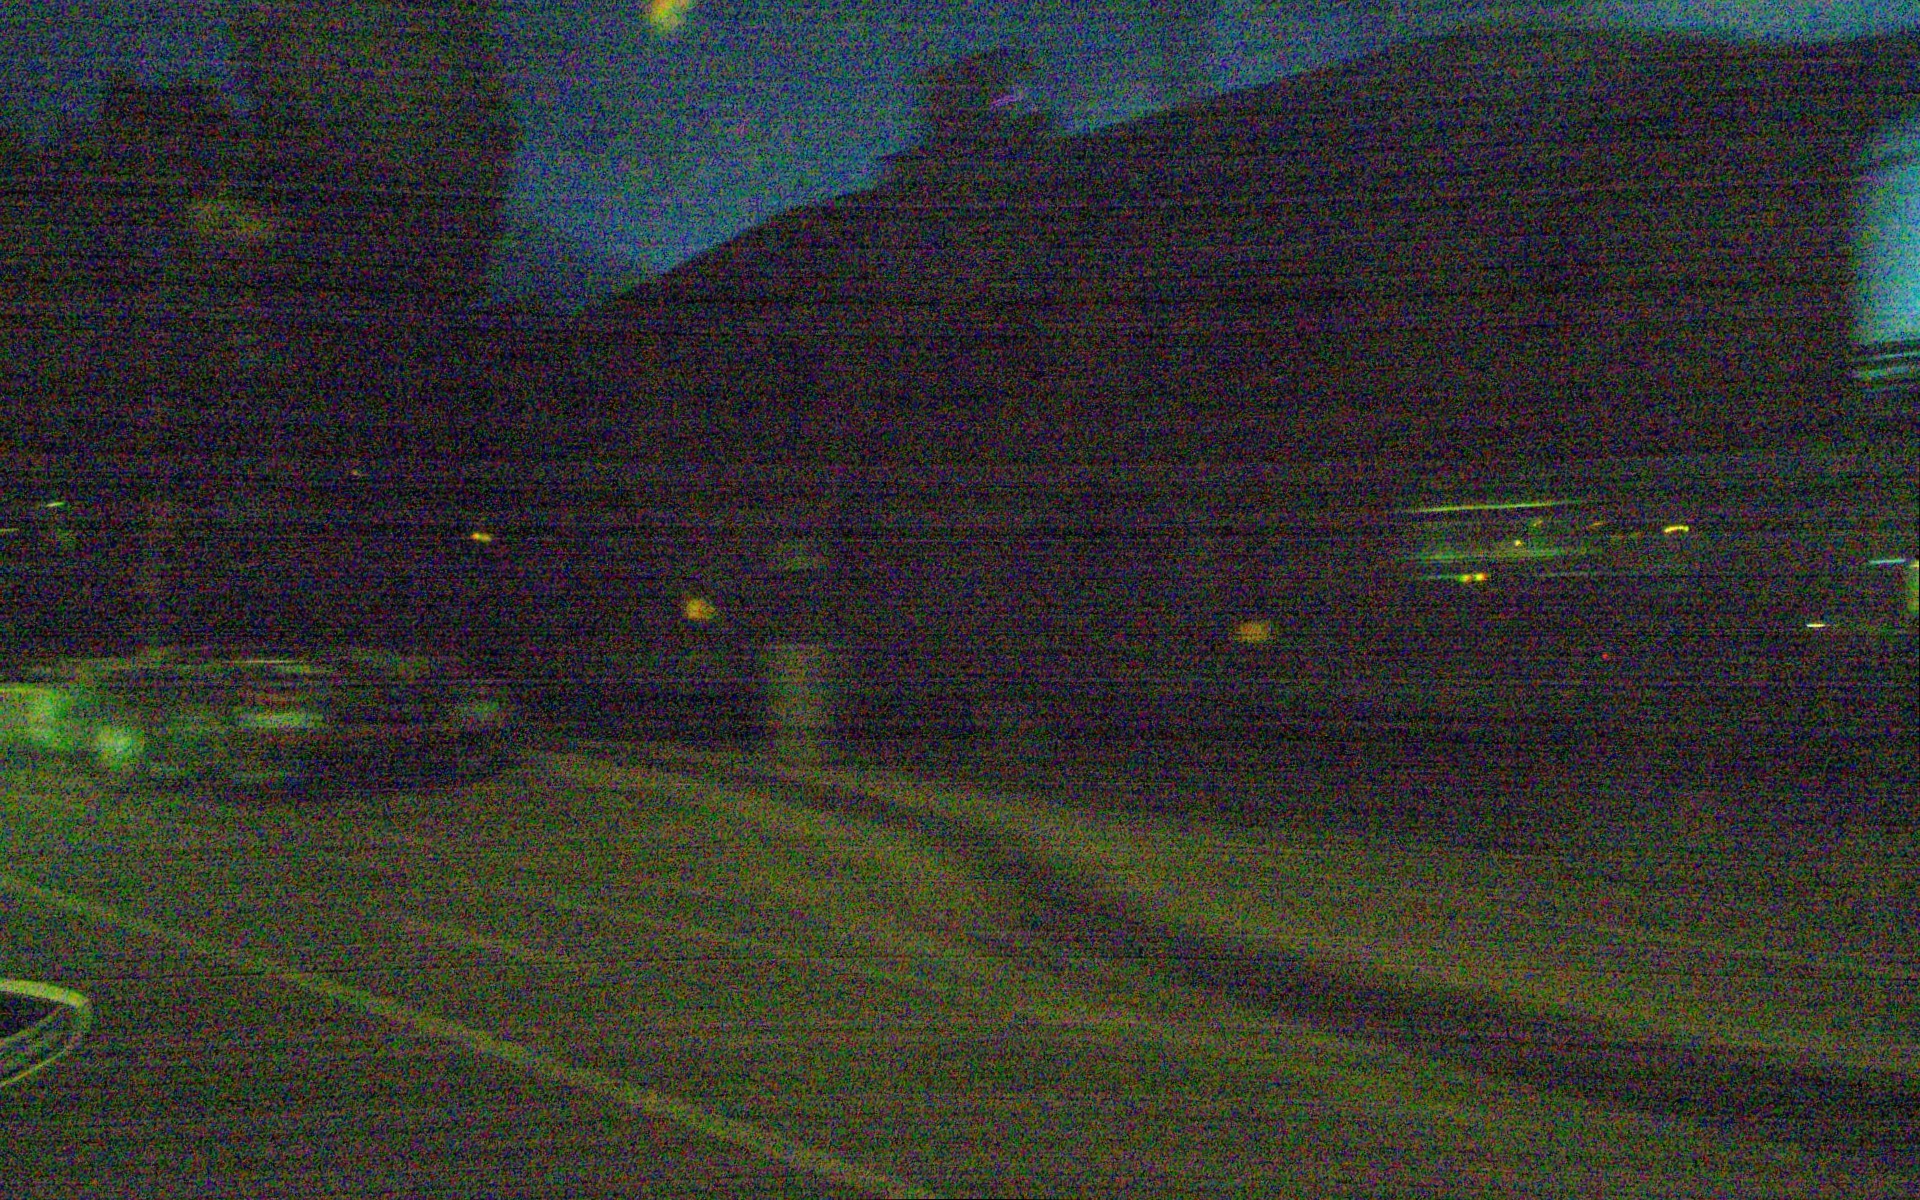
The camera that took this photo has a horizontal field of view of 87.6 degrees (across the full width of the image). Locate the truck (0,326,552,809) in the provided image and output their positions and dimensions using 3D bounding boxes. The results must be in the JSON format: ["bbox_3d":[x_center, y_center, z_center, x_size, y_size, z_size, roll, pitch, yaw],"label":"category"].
[{"bbox_3d":[-8.808,-0.176,11.375,8.998,3.832,2.752,-1,-1,29],"label":"truck"}]

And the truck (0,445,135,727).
[{"bbox_3d":[-17.407,-0.117,16.202,10.069,3.832,2.753,-1,-1,29],"label":"truck"}]
